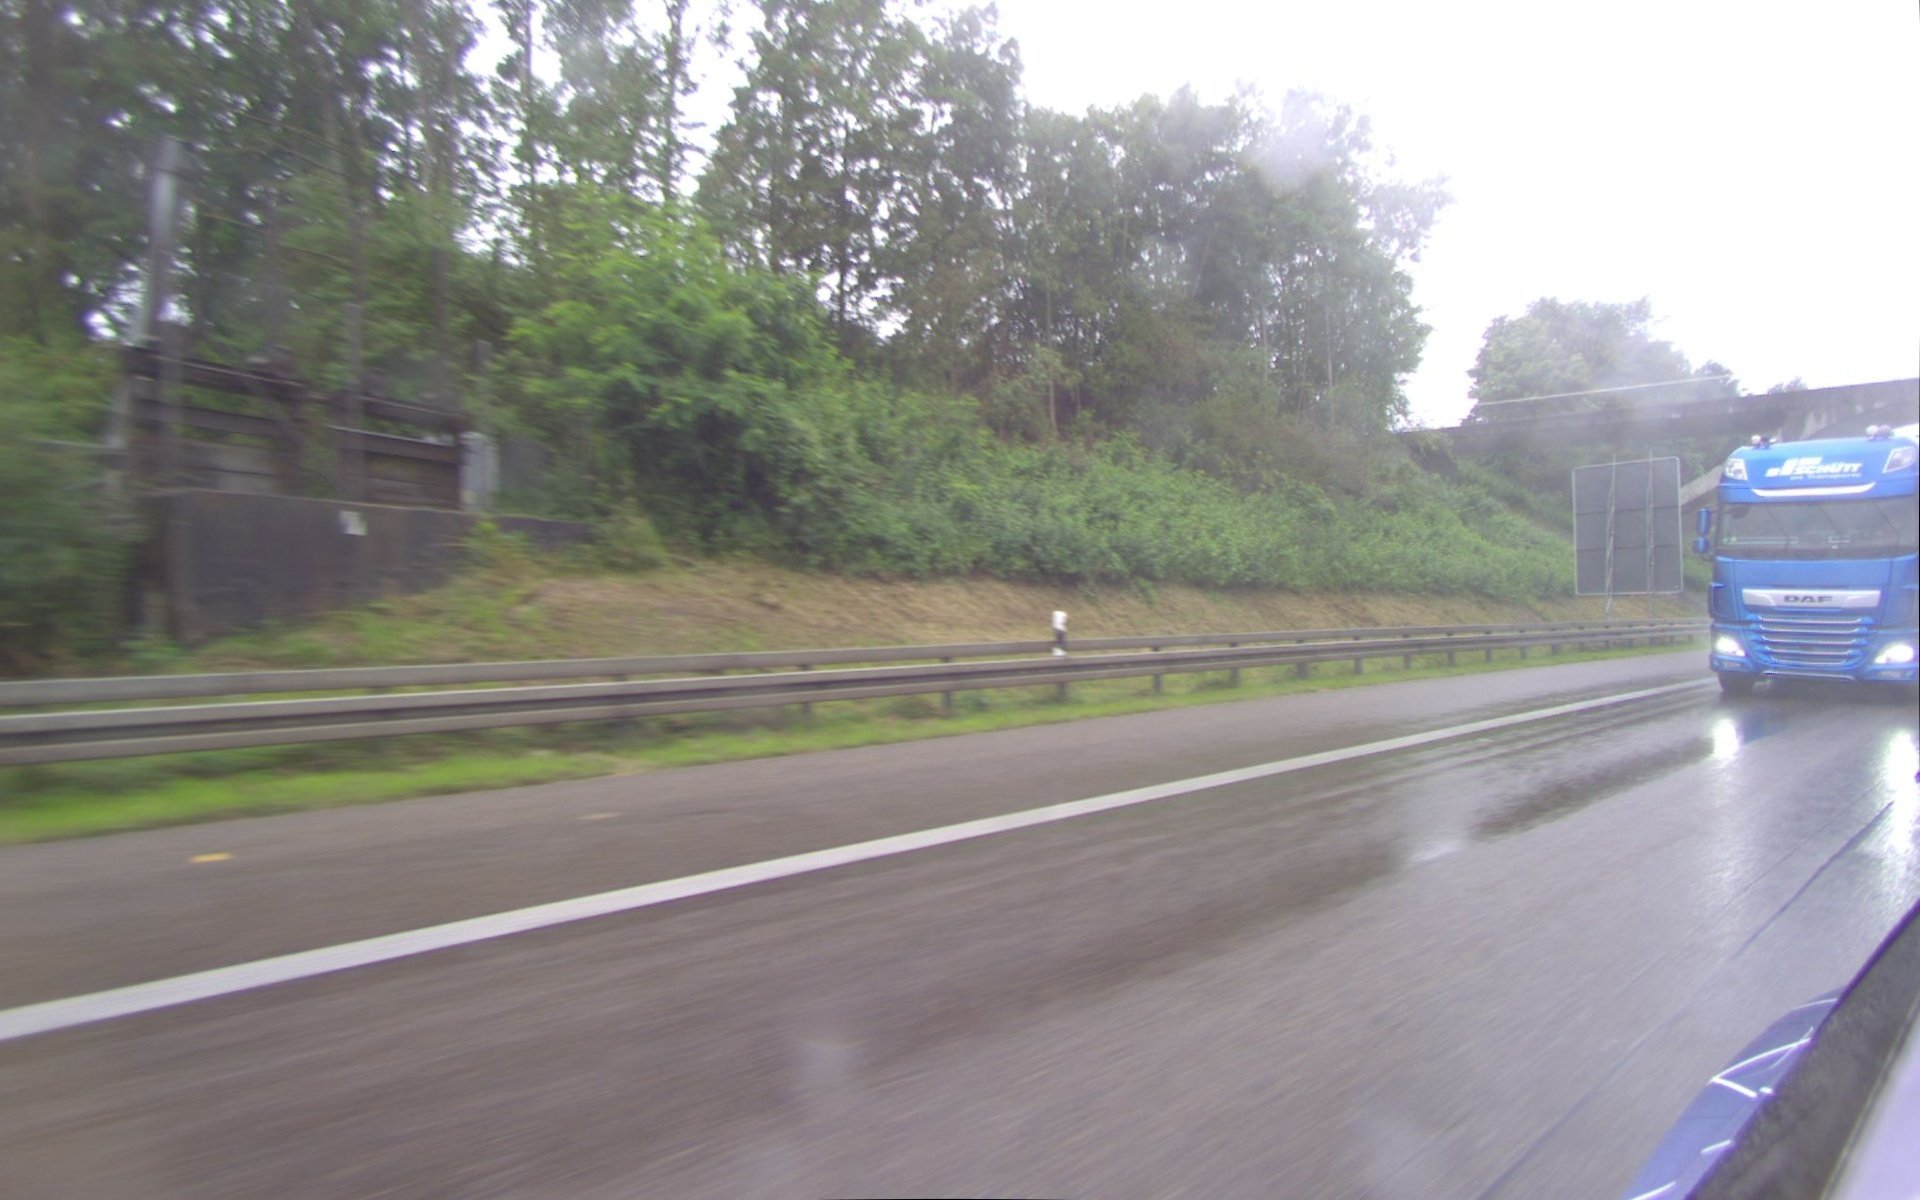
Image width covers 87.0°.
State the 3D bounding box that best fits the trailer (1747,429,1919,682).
[{"bbox_3d":[19.949,-0.784,21.212,13.882,4.014,2.749,-1,0,-41],"label":"trailer"}]

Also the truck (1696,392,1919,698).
[{"bbox_3d":[14.651,-0.790,16.636,6.369,4.129,2.754,-1,1,-41],"label":"truck"}]
